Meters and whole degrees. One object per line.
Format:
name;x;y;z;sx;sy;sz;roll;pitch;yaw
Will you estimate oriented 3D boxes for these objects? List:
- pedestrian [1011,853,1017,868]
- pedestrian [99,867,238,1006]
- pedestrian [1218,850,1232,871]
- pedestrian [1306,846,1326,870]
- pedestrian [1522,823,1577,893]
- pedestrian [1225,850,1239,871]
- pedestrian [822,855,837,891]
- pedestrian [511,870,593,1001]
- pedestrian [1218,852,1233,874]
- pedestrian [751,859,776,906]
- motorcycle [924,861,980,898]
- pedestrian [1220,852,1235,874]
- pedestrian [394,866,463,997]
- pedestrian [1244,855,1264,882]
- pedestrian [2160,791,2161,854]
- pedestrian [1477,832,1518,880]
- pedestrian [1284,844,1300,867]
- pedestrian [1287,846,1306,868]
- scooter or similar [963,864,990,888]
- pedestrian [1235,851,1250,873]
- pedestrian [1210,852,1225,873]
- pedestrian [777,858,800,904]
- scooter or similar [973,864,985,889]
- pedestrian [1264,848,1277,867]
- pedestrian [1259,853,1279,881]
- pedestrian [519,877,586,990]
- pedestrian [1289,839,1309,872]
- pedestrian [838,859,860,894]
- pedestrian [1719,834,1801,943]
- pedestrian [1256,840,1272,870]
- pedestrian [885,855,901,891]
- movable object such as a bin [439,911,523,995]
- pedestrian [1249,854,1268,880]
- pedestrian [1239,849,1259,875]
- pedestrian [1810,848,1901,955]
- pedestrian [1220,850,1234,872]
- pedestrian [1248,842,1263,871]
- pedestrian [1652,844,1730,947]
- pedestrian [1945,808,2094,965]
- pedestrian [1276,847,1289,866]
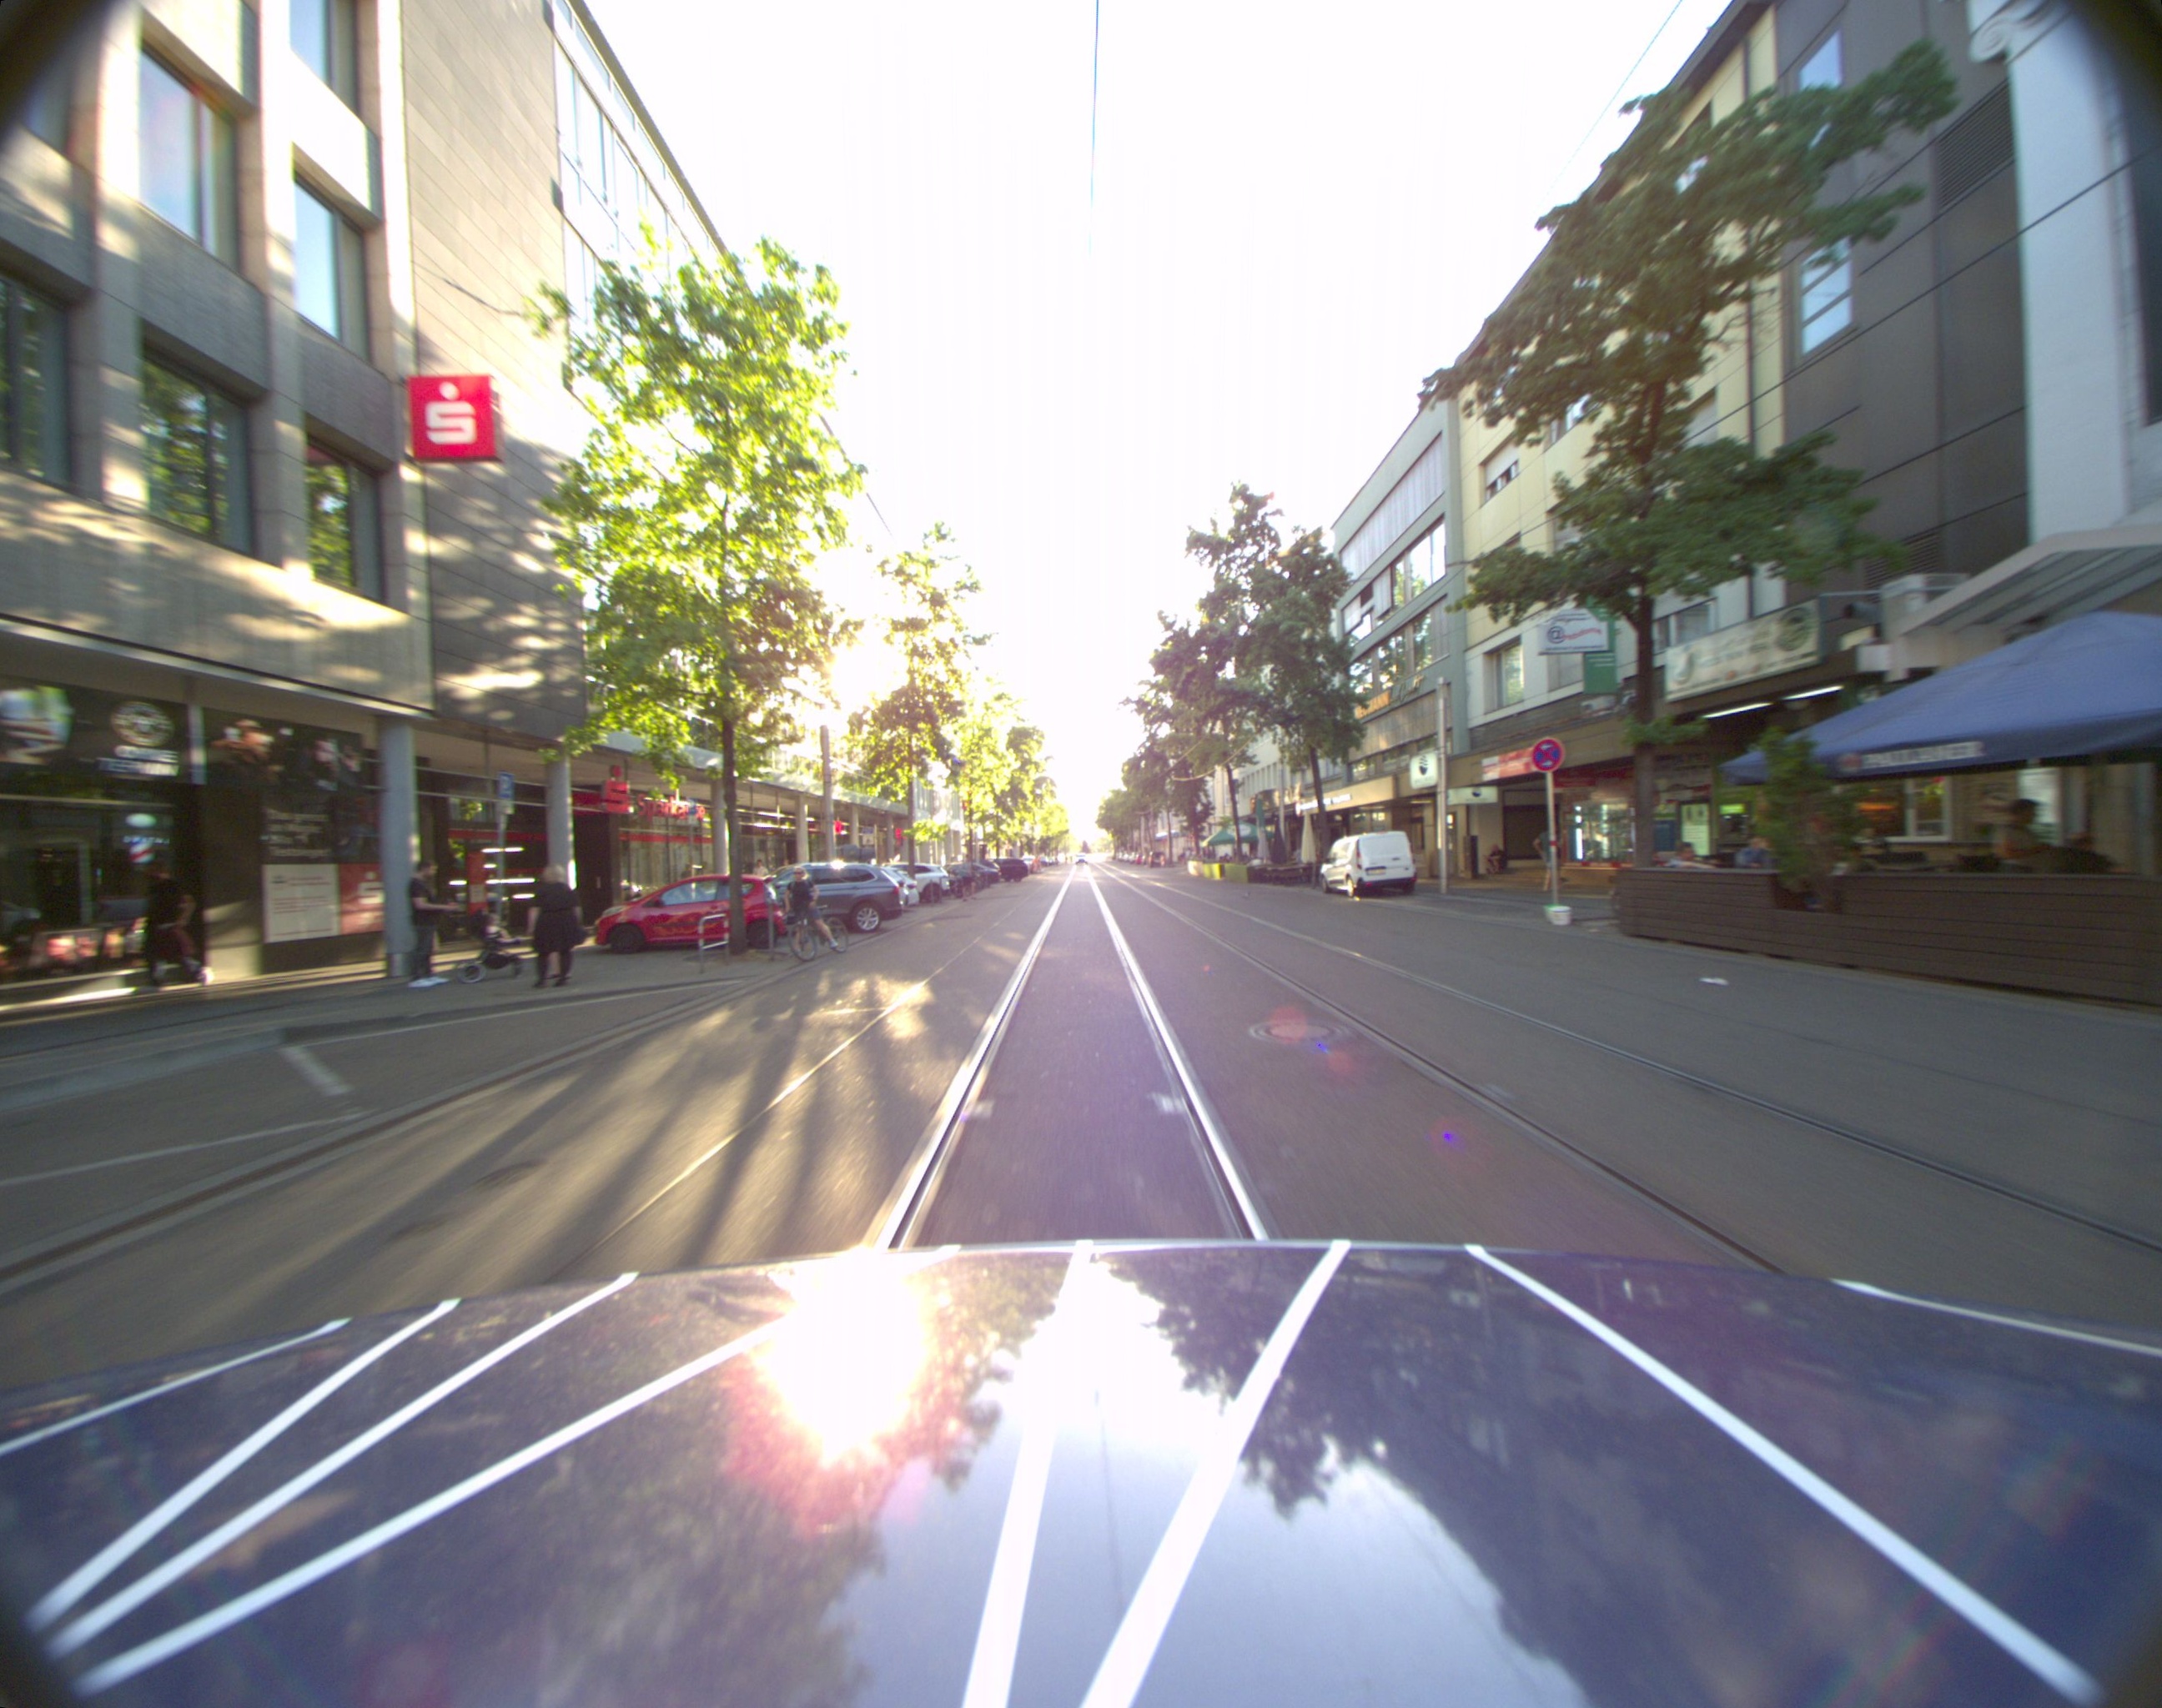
pedestrian;-8.645;0.840;98.498;0.690;1.820;0.634;-2;1;0
pedestrian;-12.373;1.092;10.331;0.846;1.774;0.782;-2;1;1
pedestrian;9.446;0.400;49.806;0.691;1.304;0.807;-4;1;1
pedestrian;12.297;0.201;39.738;0.702;1.161;0.788;-5;1;0
pedestrian;11.837;0.088;19.208;0.668;1.676;1.005;-4;1;0
pedestrian;9.456;0.426;47.584;0.709;1.252;0.869;-4;1;3
pedestrian;-12.338;0.924;37.291;0.558;1.740;0.525;0;1;0
pedestrian;-7.167;1.062;10.307;0.679;1.675;0.697;1;1;34
pedestrian;8.493;0.510;44.736;0.620;1.238;0.697;-5;1;0
pedestrian;-11.997;1.060;28.702;0.625;1.733;0.600;-1;1;6
motorcycle;-5.555;1.088;32.800;2.324;1.501;0.856;0;2;-43
pedestrian;8.409;0.516;43.573;0.620;1.238;0.697;-5;1;0
pedestrian;-8.983;1.028;10.464;0.687;1.721;0.634;1;1;42
pedestrian;8.489;0.695;37.372;0.658;1.237;0.872;-5;1;0
pedestrian;9.962;0.281;6.408;0.719;1.714;0.675;-3;1;-1
pedestrian;13.237;0.058;24.173;0.771;1.458;0.765;-5;1;-2
pedestrian;12.478;0.106;44.981;0.620;1.302;0.697;-5;1;0
pedestrian;12.480;0.163;43.999;0.738;1.224;0.788;-5;1;0
scooter or similar;-5.662;1.180;41.147;1.309;1.269;0.563;1;1;-31
pedestrian;9.273;0.452;43.692;0.620;1.238;0.697;-5;1;0
pedestrian;8.556;0.533;47.693;0.709;1.252;0.772;-4;1;2
pedestrian;-11.157;1.020;29.020;0.626;1.733;0.599;-1;1;-1
scooter or similar;-5.389;1.183;40.189;0.452;1.269;1.306;2;1;-1
pedestrian;12.112;0.207;48.651;0.603;1.167;0.687;-4;1;1
pedestrian;9.212;0.641;37.248;0.658;1.286;0.798;-5;1;0
pedestrian;-7.662;1.121;11.018;0.606;1.543;0.691;1;1;44
pedestrian;10.880;0.078;37.927;0.649;1.565;0.700;-5;1;0
pedestrian;-11.021;1.055;36.141;0.716;1.614;0.882;-1;1;1
pedestrian;9.271;0.461;10.391;0.551;1.421;0.582;-3;1;-1
pedestrian;11.023;0.037;45.802;0.679;1.746;0.697;-4;1;2
pedestrian;-9.088;0.920;36.785;0.681;1.686;0.549;-3;1;-12
movable object such as a bin;-8.597;1.389;10.897;0.687;1.058;0.835;1;1;42
pedestrian;8.558;0.612;36.628;0.658;1.186;0.798;-5;1;0
pedestrian;8.900;0.422;40.268;0.756;1.336;0.872;-5;1;0
pedestrian;9.238;0.552;9.080;0.496;1.221;0.535;-3;1;-1
pedestrian;9.412;0.431;48.930;0.709;1.339;0.781;-4;1;2
pedestrian;10.304;0.135;44.971;0.620;1.661;0.697;-4;1;0
pedestrian;8.374;0.559;10.446;0.551;1.348;0.582;-3;1;-1
pedestrian;10.124;0.334;8.223;0.675;1.598;0.719;-3;1;-1
pedestrian;12.901;0.155;48.614;0.603;1.151;0.687;-4;1;1
